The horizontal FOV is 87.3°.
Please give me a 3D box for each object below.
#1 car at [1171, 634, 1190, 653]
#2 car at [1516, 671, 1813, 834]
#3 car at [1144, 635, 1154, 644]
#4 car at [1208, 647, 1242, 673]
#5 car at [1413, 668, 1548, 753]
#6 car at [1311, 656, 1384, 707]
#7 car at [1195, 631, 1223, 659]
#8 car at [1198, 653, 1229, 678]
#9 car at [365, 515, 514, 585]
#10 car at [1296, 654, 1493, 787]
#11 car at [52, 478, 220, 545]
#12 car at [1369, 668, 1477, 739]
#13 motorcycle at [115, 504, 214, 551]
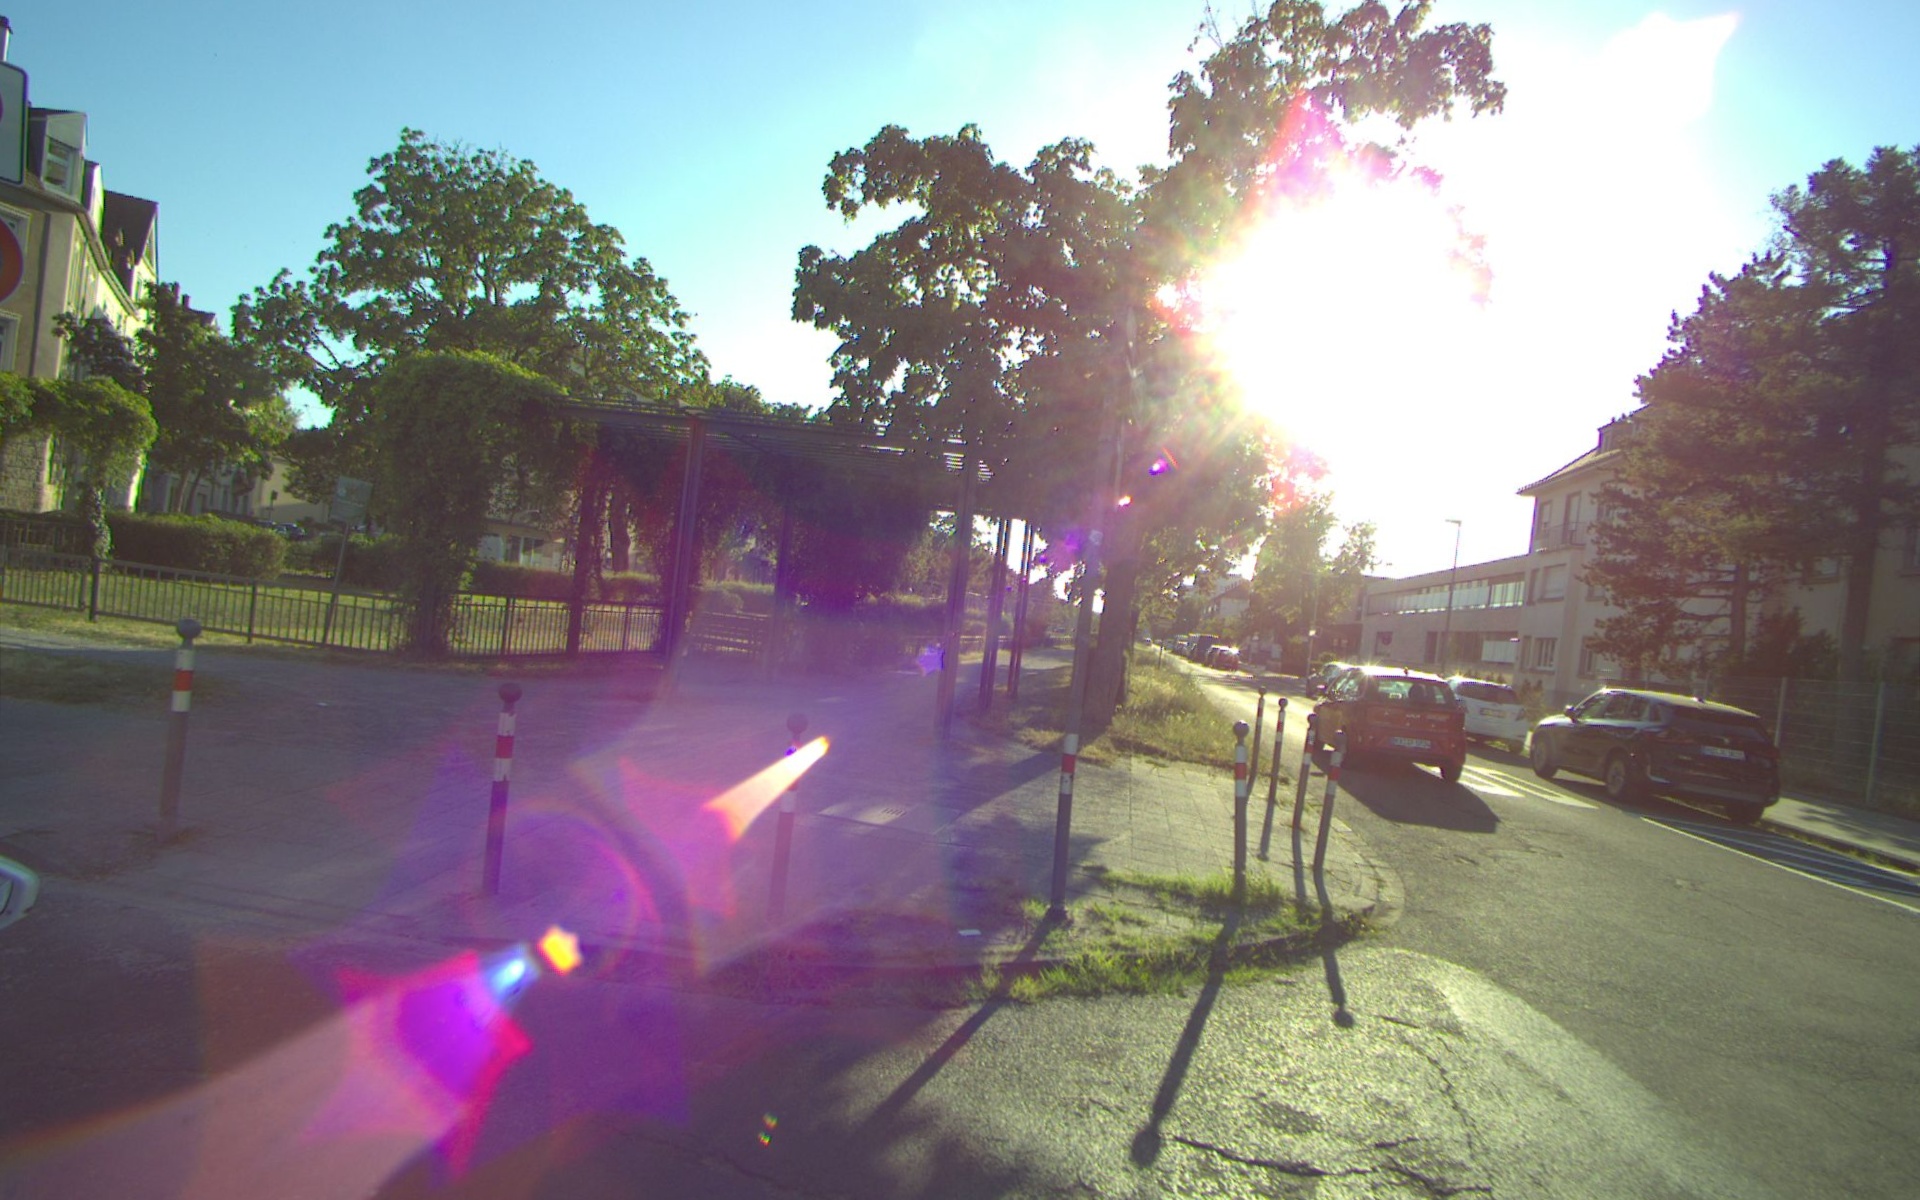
[{"bbox_3d":[27.841,5.445,126.924,1.962,2.149,4.003,7,0,10],"label":"car"},{"bbox_3d":[10.358,2.135,15.258,1.788,1.661,4.219,9,0,9],"label":"car"},{"bbox_3d":[40.998,8.599,218.312,1.836,1.637,4.003,7,-1,9],"label":"car"},{"bbox_3d":[19.070,4.283,72.534,1.729,1.536,3.762,7,-1,8],"label":"car"},{"bbox_3d":[12.171,2.524,23.796,1.737,1.544,3.775,6,-1,11],"label":"car"},{"bbox_3d":[14.509,3.020,37.862,1.737,1.544,3.775,6,-1,10],"label":"car"},{"bbox_3d":[22.134,3.979,89.579,1.962,2.149,4.003,7,0,10],"label":"car"},{"bbox_3d":[19.278,4.980,76.602,1.702,1.536,3.762,7,-1,8],"label":"car"},{"bbox_3d":[-27.733,-2.627,53.938,6.593,2.778,2.308,7,0,-19],"label":"car"},{"bbox_3d":[6.510,1.724,15.531,1.737,1.544,3.775,6,-1,8],"label":"car"},{"bbox_3d":[-27.833,-2.943,34.170,1.777,1.551,4.090,8,0,11],"label":"car"},{"bbox_3d":[13.049,2.866,28.581,1.702,1.536,3.762,7,-1,10],"label":"car"},{"bbox_3d":[-32.613,-2.960,41.266,3.171,1.505,0.853,6,0,-2],"label":"motorcycle"}]
